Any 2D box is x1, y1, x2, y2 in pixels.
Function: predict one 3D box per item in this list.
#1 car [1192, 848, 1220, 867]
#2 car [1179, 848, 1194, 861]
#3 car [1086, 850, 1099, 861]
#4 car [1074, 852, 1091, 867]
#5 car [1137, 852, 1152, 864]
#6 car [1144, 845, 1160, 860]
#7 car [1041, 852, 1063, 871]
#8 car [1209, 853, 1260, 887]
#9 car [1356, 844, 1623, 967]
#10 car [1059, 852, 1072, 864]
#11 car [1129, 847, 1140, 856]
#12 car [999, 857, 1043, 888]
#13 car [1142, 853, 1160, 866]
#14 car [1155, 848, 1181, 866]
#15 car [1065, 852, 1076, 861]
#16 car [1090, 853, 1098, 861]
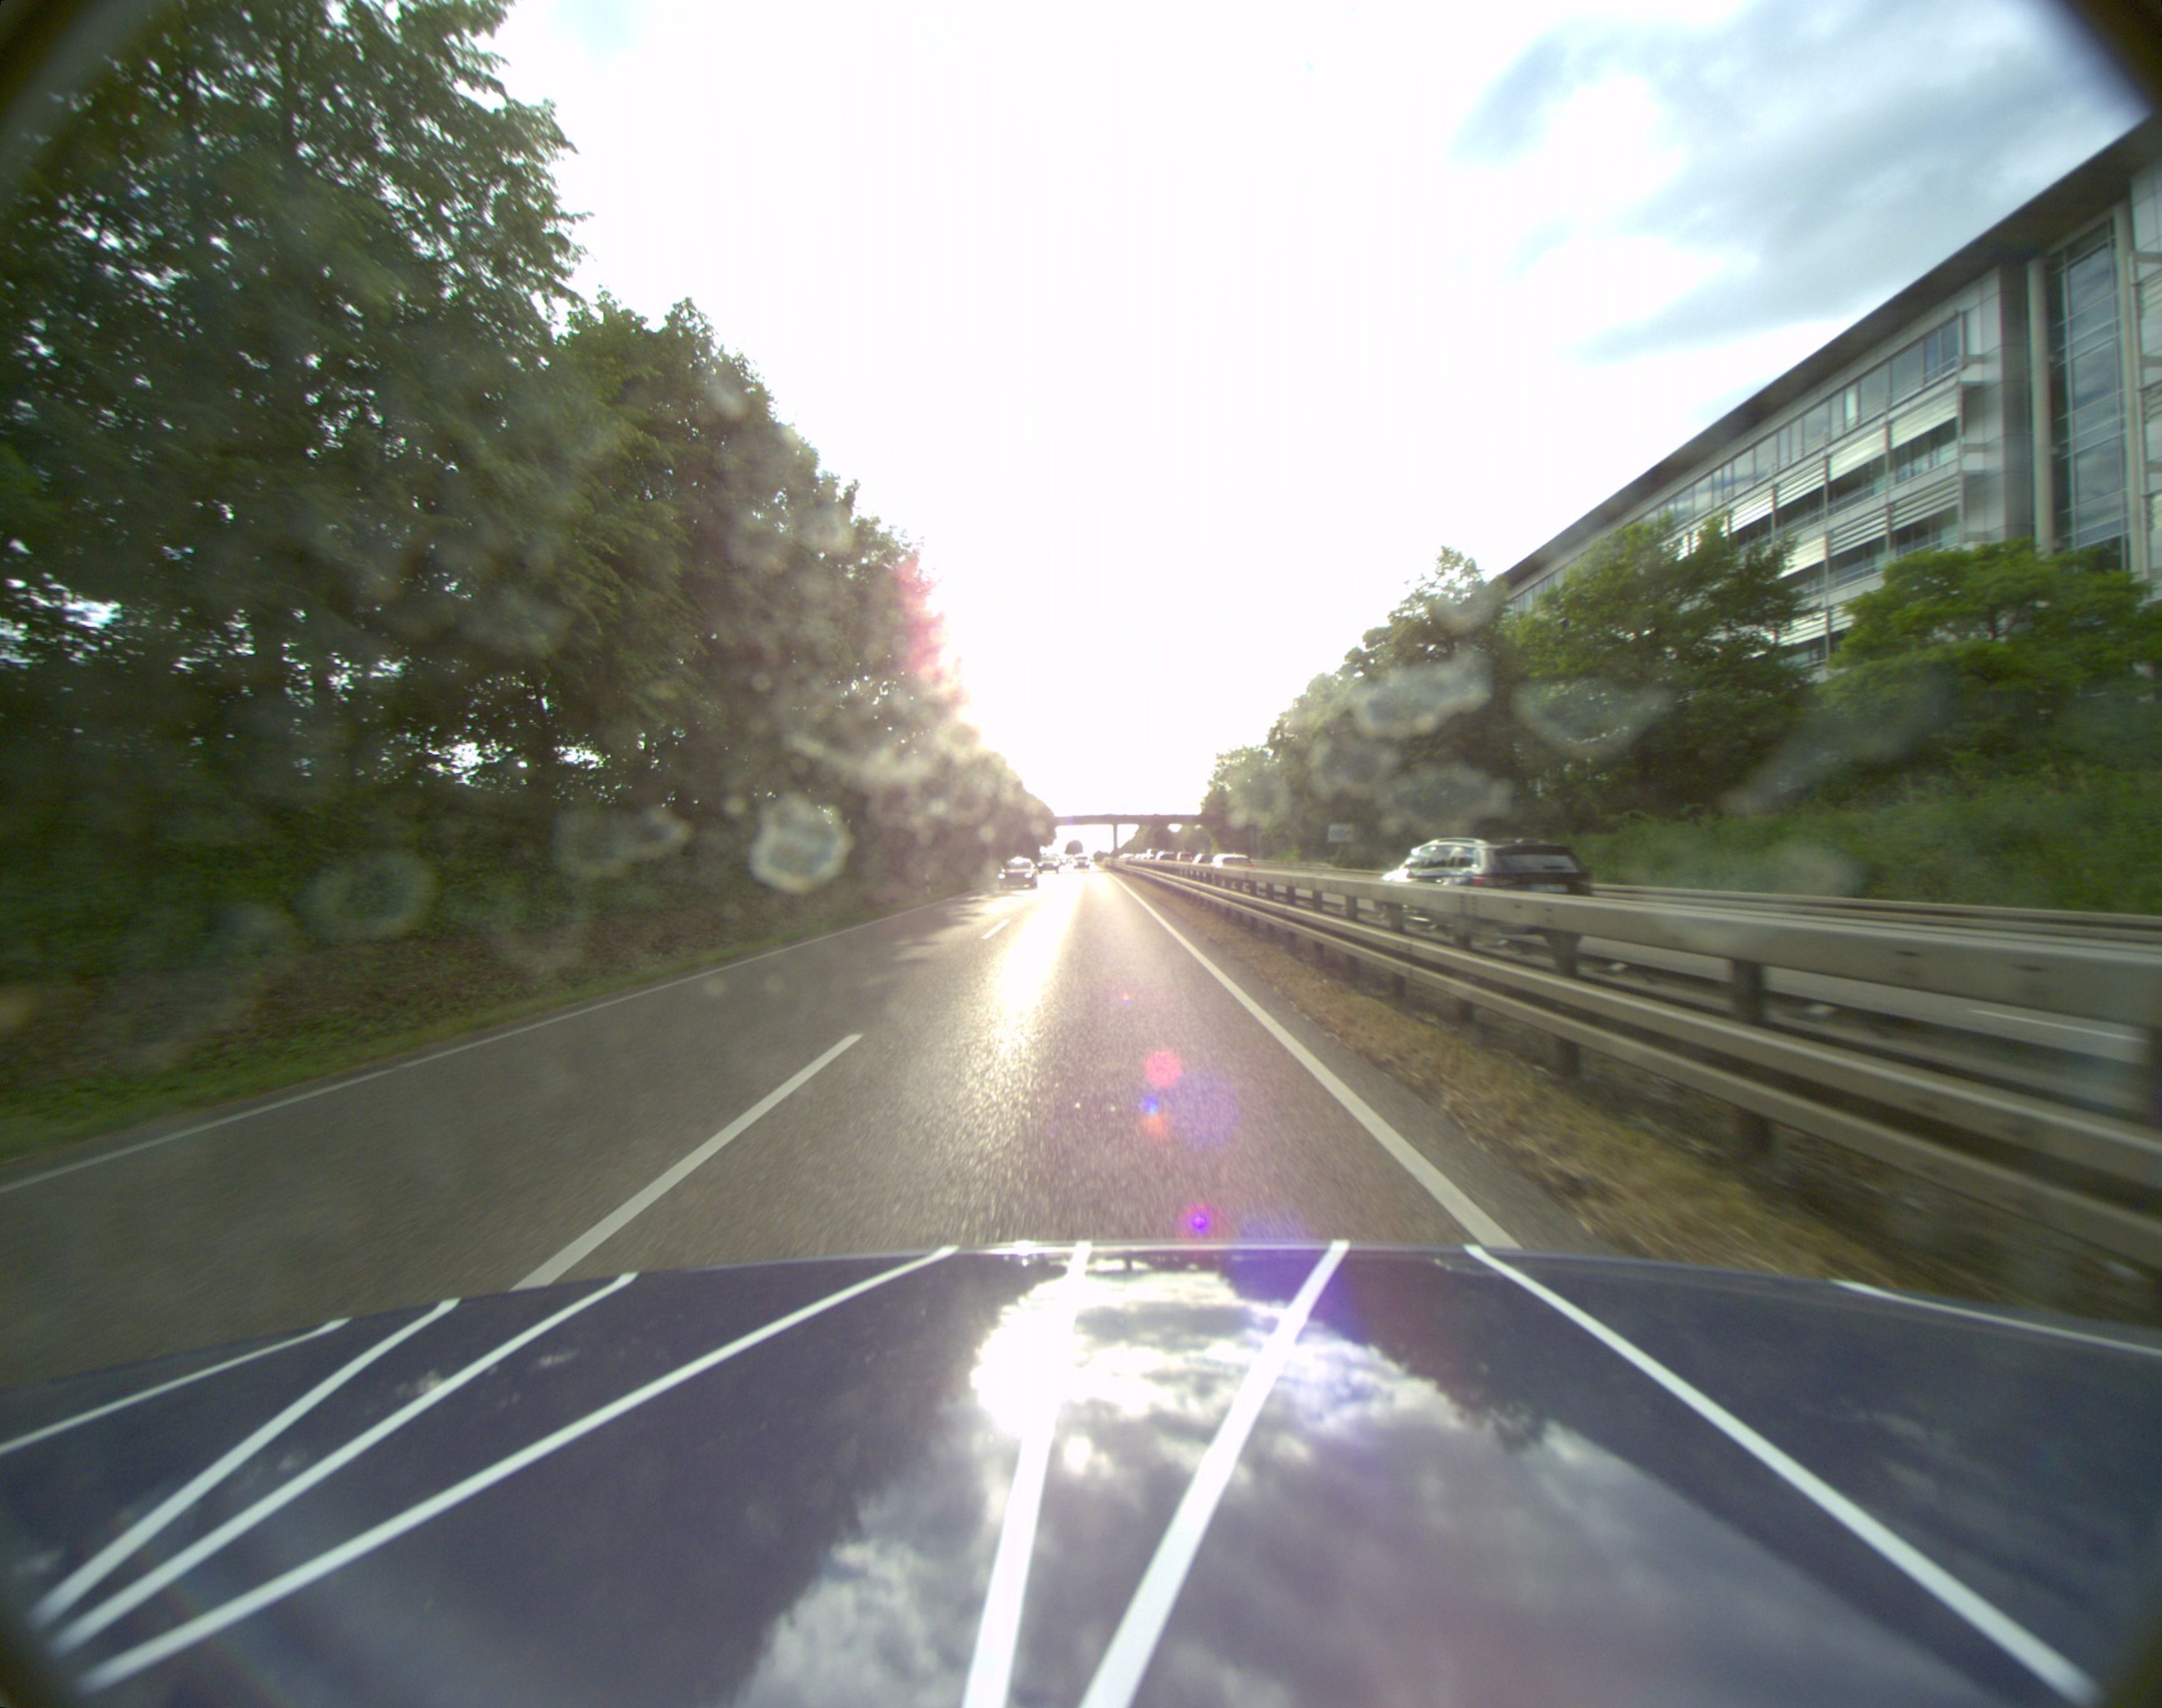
[{"bbox_3d":[11.247,0.266,68.598,1.747,1.580,4.311,-2,1,0],"label":"car"},{"bbox_3d":[15.180,0.076,109.735,1.871,1.844,4.624,-1,0,6],"label":"car"},{"bbox_3d":[1.728,0.250,112.402,1.786,1.623,3.866,-3,-1,2],"label":"car"},{"bbox_3d":[0.193,0.645,83.479,1.723,1.493,4.420,-3,-1,2],"label":"car"},{"bbox_3d":[8.397,0.481,100.551,1.686,1.477,3.646,-2,0,1],"label":"car"},{"bbox_3d":[12.422,-0.215,132.847,2.255,2.522,6.940,-2,0,1],"label":"car"},{"bbox_3d":[-2.682,0.709,70.608,1.723,1.657,4.420,-3,-1,1],"label":"car"},{"bbox_3d":[7.040,0.680,35.243,1.595,1.439,4.000,-1,1,1],"label":"car"},{"bbox_3d":[6.452,0.679,12.853,1.747,1.635,5.279,-1,0,1],"label":"car"},{"bbox_3d":[-2.432,0.633,119.840,1.723,1.657,4.420,-3,-1,1],"label":"car"},{"bbox_3d":[9.466,-0.368,134.981,1.610,1.519,3.640,-2,0,0],"label":"car"},{"bbox_3d":[-2.997,0.896,38.702,1.723,1.467,3.729,-1,0,3],"label":"car"},{"bbox_3d":[7.757,0.630,84.429,1.680,1.344,3.831,-1,0,0],"label":"car"},{"bbox_3d":[7.709,0.258,67.558,1.825,1.575,4.316,-1,0,1],"label":"car"},{"bbox_3d":[-2.074,0.462,148.398,1.948,1.652,4.001,-3,-1,1],"label":"car"},{"bbox_3d":[3.415,0.682,202.422,1.998,2.002,4.000,-3,0,1],"label":"car"}]
